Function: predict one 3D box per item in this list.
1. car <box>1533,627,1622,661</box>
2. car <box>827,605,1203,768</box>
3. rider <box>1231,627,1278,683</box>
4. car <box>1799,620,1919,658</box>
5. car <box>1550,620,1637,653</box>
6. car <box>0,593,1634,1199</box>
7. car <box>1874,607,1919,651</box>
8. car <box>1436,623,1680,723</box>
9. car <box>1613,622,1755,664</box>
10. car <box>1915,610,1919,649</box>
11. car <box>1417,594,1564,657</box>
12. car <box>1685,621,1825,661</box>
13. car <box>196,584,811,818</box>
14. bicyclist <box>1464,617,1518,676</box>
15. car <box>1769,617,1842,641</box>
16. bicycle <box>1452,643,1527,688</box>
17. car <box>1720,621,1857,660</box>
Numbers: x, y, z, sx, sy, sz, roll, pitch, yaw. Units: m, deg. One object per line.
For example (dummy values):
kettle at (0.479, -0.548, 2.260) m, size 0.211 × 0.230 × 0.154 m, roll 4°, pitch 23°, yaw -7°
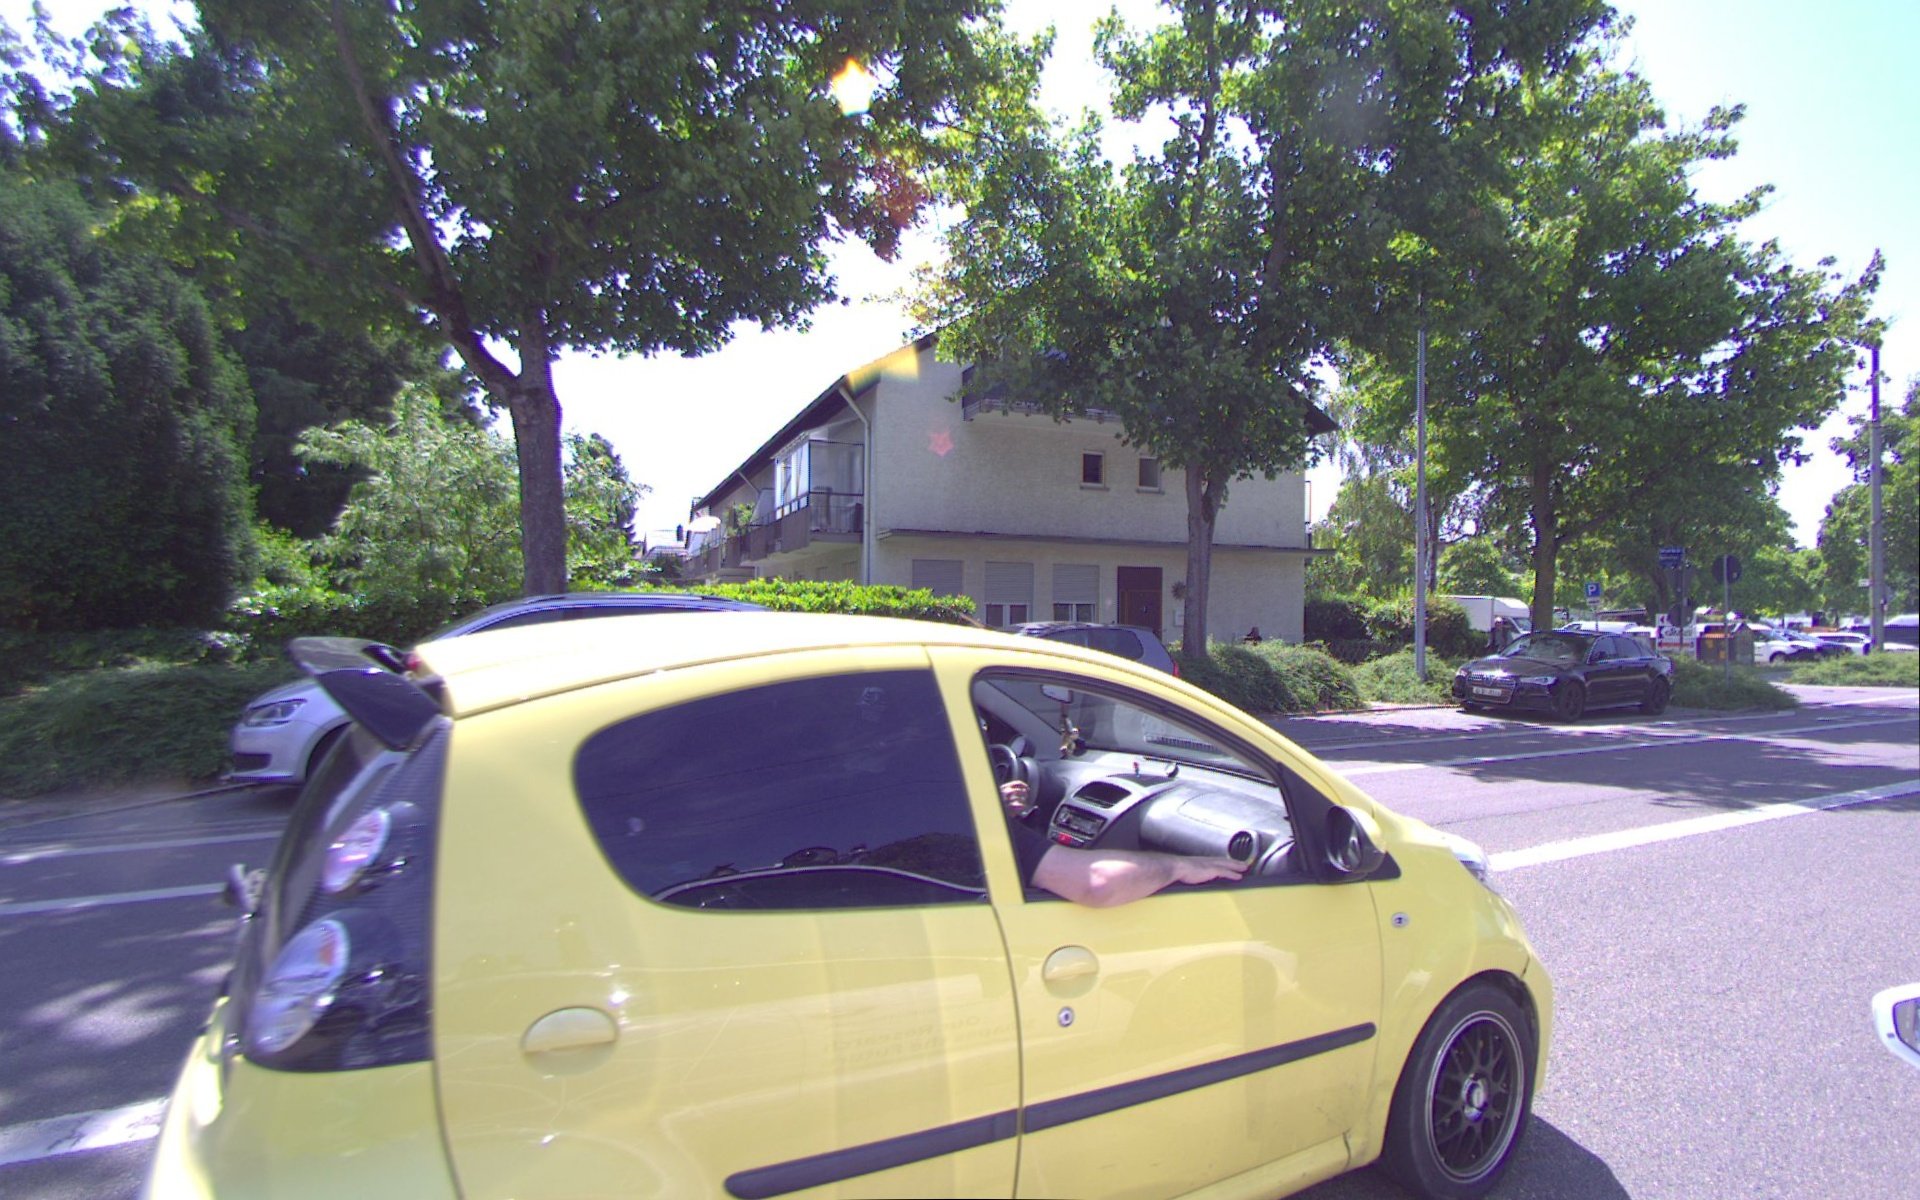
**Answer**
car at (35.561, 2.505, 57.936) m, size 1.799 × 1.675 × 3.957 m, roll 2°, pitch 1°, yaw -37°
car at (0.695, 0.901, 11.892) m, size 4.132 × 1.585 × 1.809 m, roll 1°, pitch 1°, yaw -31°
rider at (7.399, 1.369, 25.278) m, size 0.800 × 1.392 × 0.824 m, roll 1°, pitch -1°, yaw -22°
car at (43.197, 1.836, 48.299) m, size 1.975 × 1.769 × 3.968 m, roll 1°, pitch -1°, yaw -30°
car at (37.459, 2.143, 59.446) m, size 1.799 × 1.675 × 3.957 m, roll 2°, pitch 1°, yaw -37°
car at (-0.066, 0.744, 2.602) m, size 3.475 × 1.430 × 1.682 m, roll 1°, pitch 1°, yaw -31°
car at (52.278, 1.604, 53.255) m, size 2.349 × 2.274 × 5.076 m, roll 2°, pitch 1°, yaw -28°
car at (10.592, 1.200, 17.717) m, size 4.397 × 1.496 × 1.809 m, roll 1°, pitch 1°, yaw -31°
car at (29.400, 1.694, 40.909) m, size 1.891 × 1.606 × 4.321 m, roll 1°, pitch -1°, yaw -31°
car at (58.889, 1.839, 57.859) m, size 2.349 × 2.274 × 5.076 m, roll 2°, pitch 1°, yaw -28°
car at (28.789, 1.321, 54.808) m, size 2.337 × 3.005 × 6.816 m, roll 2°, pitch 1°, yaw -30°
car at (33.818, 1.708, 42.882) m, size 1.886 × 1.606 × 4.332 m, roll 1°, pitch -1°, yaw -24°
car at (-3.926, 0.755, 9.254) m, size 4.725 × 1.687 × 1.863 m, roll 1°, pitch 0°, yaw -31°
bicyclist at (13.024, 1.129, 24.635) m, size 0.817 × 1.392 × 0.806 m, roll 2°, pitch 1°, yaw -27°
car at (66.363, 2.293, 78.880) m, size 1.795 × 1.638 × 4.000 m, roll 2°, pitch 1°, yaw -30°
bicycle at (13.008, 1.602, 24.661) m, size 1.805 × 1.043 × 0.698 m, roll 2°, pitch 1°, yaw -27°
car at (36.375, 1.759, 44.236) m, size 1.886 × 1.606 × 4.333 m, roll 1°, pitch -1°, yaw -23°
